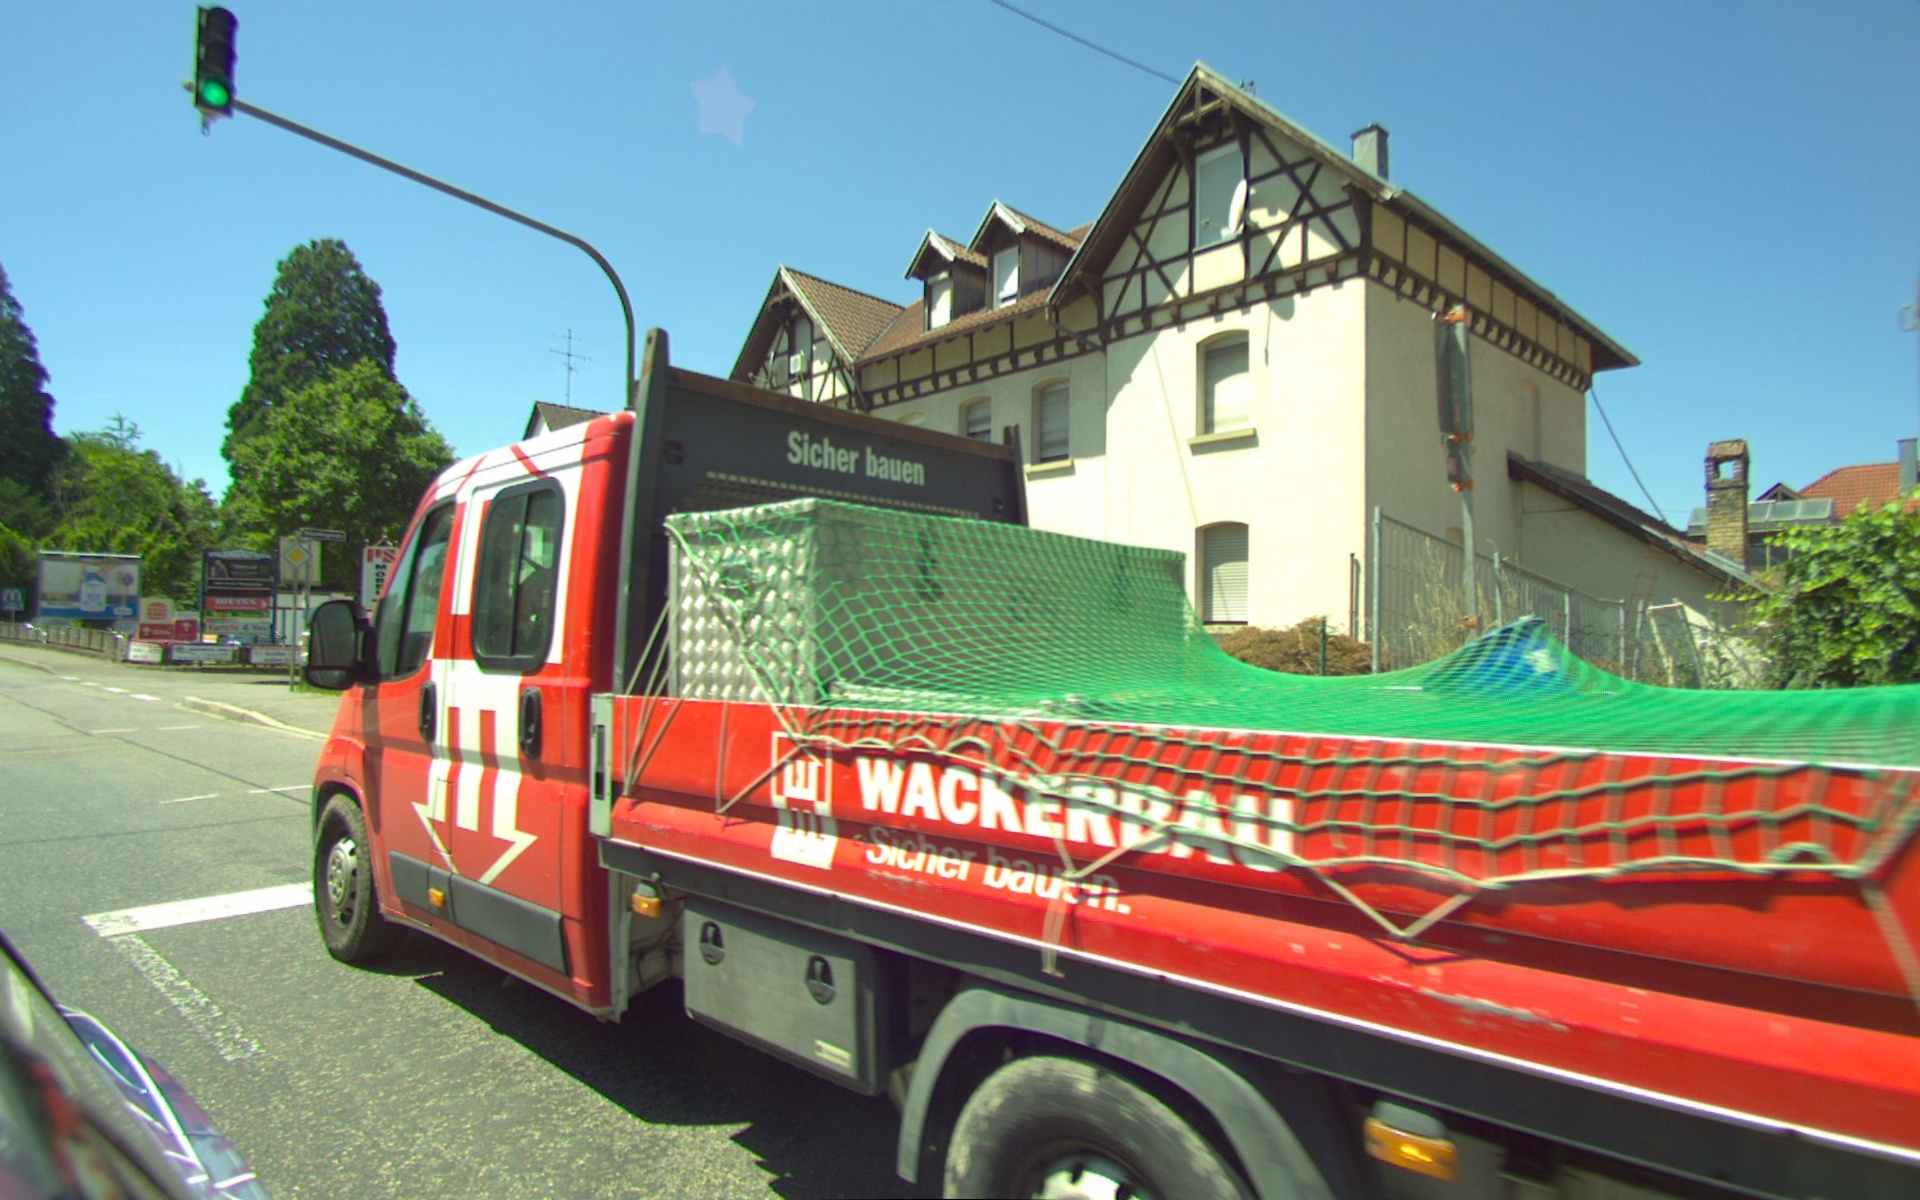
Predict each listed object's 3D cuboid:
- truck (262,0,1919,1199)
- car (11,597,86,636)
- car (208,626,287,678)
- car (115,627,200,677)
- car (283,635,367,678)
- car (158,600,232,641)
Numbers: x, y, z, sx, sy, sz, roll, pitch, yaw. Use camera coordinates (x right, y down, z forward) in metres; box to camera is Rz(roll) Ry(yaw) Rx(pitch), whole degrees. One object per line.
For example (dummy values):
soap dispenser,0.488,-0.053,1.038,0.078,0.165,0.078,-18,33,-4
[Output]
truck,-0.390,0.176,3.646,6.434,2.357,2.104,-1,-2,43
car,-40.165,0.710,44.593,3.996,1.530,1.776,1,-3,39
car,-25.361,1.825,35.959,1.772,1.691,4.631,5,-4,-41
car,-27.081,1.733,34.129,1.773,1.530,4.003,5,-4,-44
car,-23.506,2.080,37.426,1.773,1.445,4.003,5,-4,-44
car,-36.013,0.946,47.619,3.996,1.755,1.776,1,-3,39
